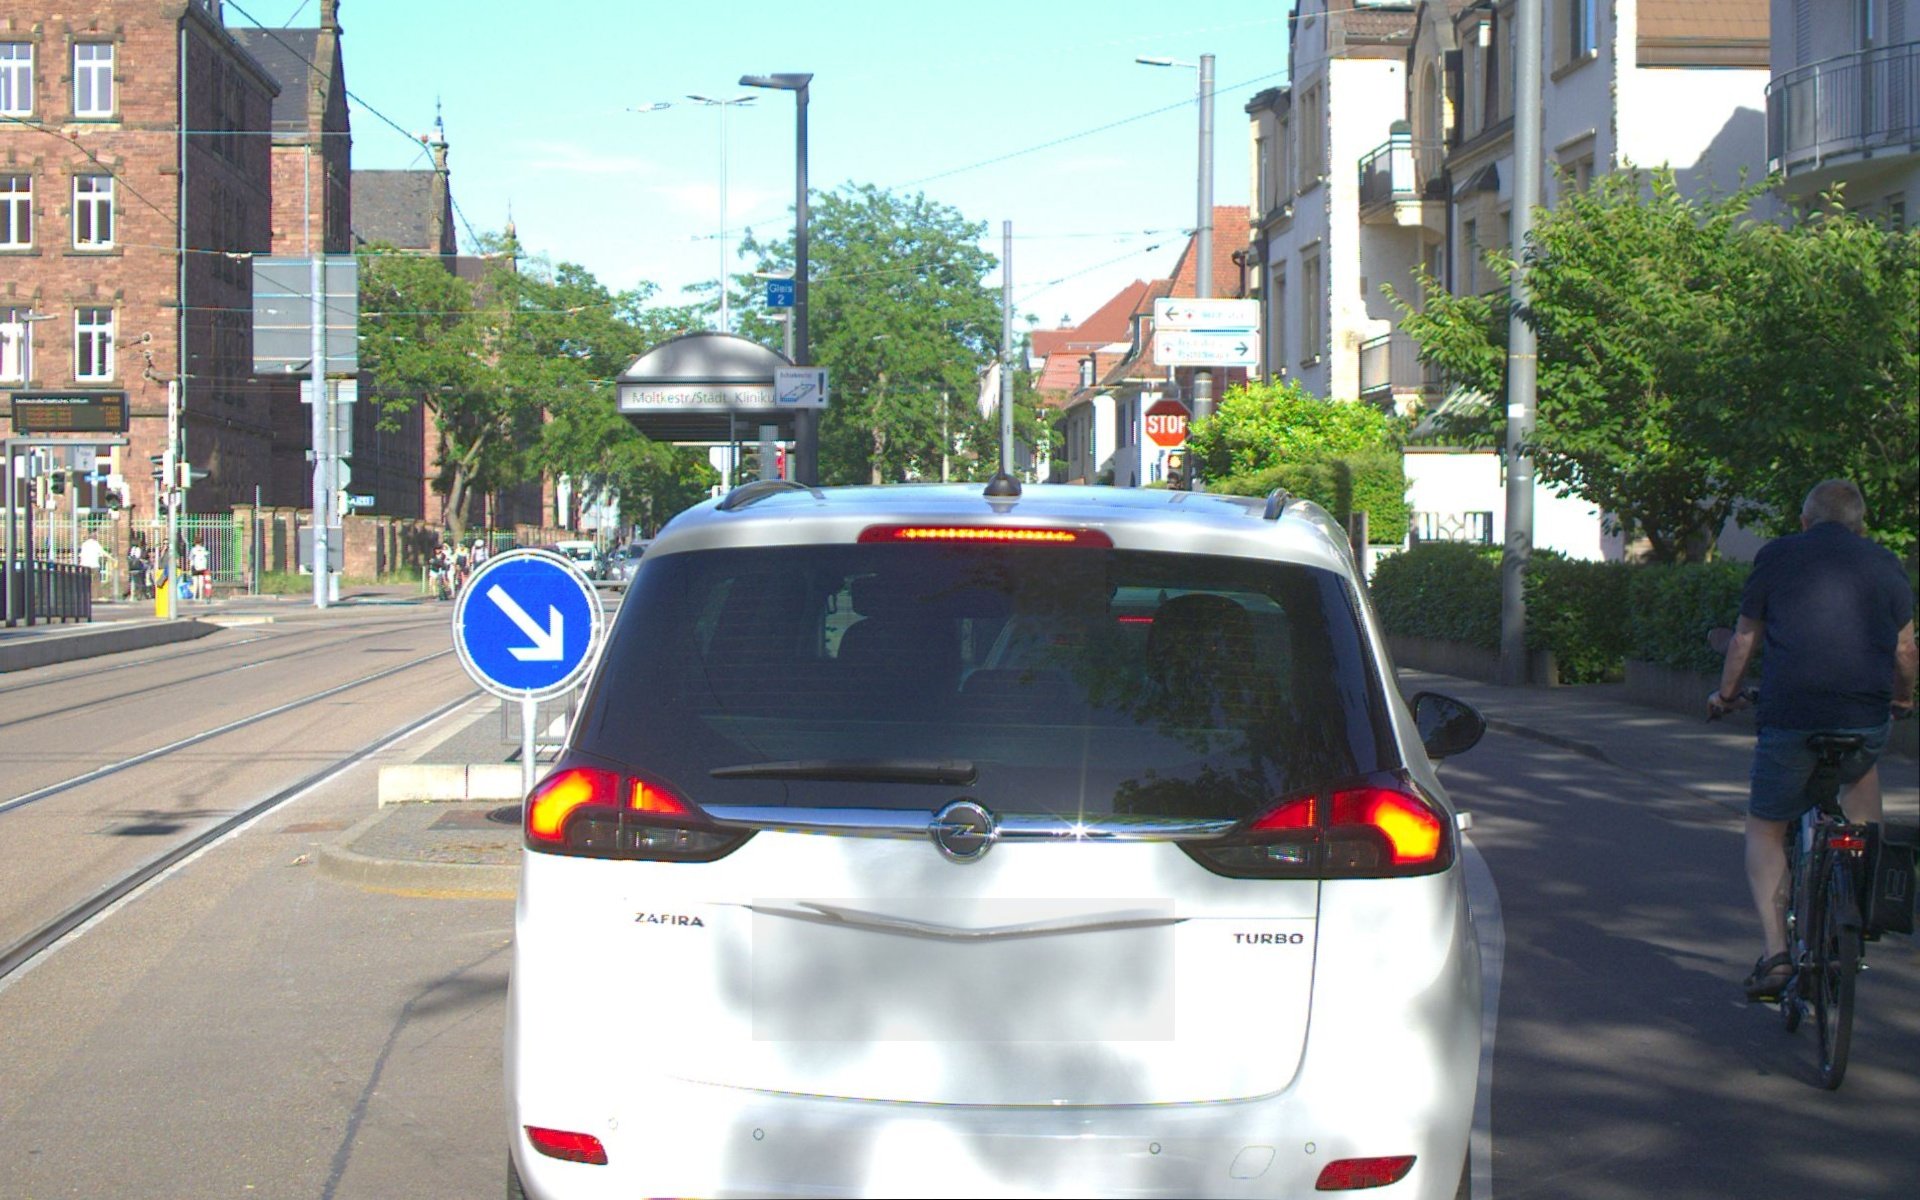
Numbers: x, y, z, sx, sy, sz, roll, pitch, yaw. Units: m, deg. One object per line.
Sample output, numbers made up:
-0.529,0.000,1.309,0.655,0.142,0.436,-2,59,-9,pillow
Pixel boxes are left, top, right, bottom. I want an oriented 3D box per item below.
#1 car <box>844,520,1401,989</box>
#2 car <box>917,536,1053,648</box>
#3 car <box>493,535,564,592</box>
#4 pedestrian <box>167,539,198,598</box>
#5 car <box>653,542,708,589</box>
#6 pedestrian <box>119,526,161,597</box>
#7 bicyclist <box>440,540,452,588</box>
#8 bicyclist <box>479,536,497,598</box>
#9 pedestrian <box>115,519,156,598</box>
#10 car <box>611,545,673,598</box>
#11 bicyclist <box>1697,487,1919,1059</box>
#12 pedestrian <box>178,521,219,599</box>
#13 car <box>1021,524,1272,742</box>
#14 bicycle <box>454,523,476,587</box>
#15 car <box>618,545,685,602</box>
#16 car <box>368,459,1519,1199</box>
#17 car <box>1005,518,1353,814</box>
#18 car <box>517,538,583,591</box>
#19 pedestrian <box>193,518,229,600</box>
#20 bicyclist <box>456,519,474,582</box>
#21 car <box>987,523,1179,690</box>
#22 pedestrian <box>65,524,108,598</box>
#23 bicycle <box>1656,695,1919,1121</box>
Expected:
0.781,0.488,13.779,1.907,1.592,3.999,0,1,7,car
0.344,-0.157,53.094,1.907,1.656,4.001,0,1,-2,car
-13.413,-1.133,107.051,1.746,1.710,4.000,1,1,-1,car
-21.558,-0.874,95.332,0.654,1.606,0.711,1,0,2,pedestrian
-10.472,-1.311,129.076,1.746,1.710,4.000,1,1,-1,car
-21.991,-1.028,92.246,0.808,1.894,0.743,1,0,18,pedestrian
-15.413,-1.079,103.050,0.313,1.439,0.384,0,1,-1,bicyclist
-15.375,-1.071,111.934,0.488,2.007,0.502,1,0,-1,bicyclist
-21.188,-1.057,88.354,0.795,2.007,0.720,1,0,-34,pedestrian
-10.637,-0.963,115.224,1.746,1.710,4.000,1,1,-1,car
2.648,0.504,10.492,0.616,1.681,0.779,0,1,0,bicyclist
-19.701,-1.042,88.976,0.795,2.007,0.720,1,0,-37,pedestrian
1.568,0.212,28.279,1.907,1.656,4.000,0,1,4,car
-15.684,-1.439,108.991,0.487,2.007,1.405,0,1,0,bicycle
-9.626,-0.832,107.367,1.746,1.710,4.000,1,1,-1,car
0.186,0.561,7.651,1.907,1.656,3.999,0,1,7,car
1.431,0.325,21.001,1.907,1.619,3.999,0,1,7,car
-13.538,-1.169,113.719,1.746,1.710,4.000,1,1,-1,car
-18.518,-1.012,84.982,0.794,2.007,0.721,1,0,-17,pedestrian
-15.686,-1.563,109.012,0.498,2.007,0.572,0,1,-1,bicyclist
1.246,0.030,36.116,1.907,1.656,4.000,0,1,1,car
-22.612,-1.019,89.028,0.808,1.894,0.743,1,0,14,pedestrian
2.655,0.883,10.529,0.624,1.093,1.974,0,1,-1,bicycle
